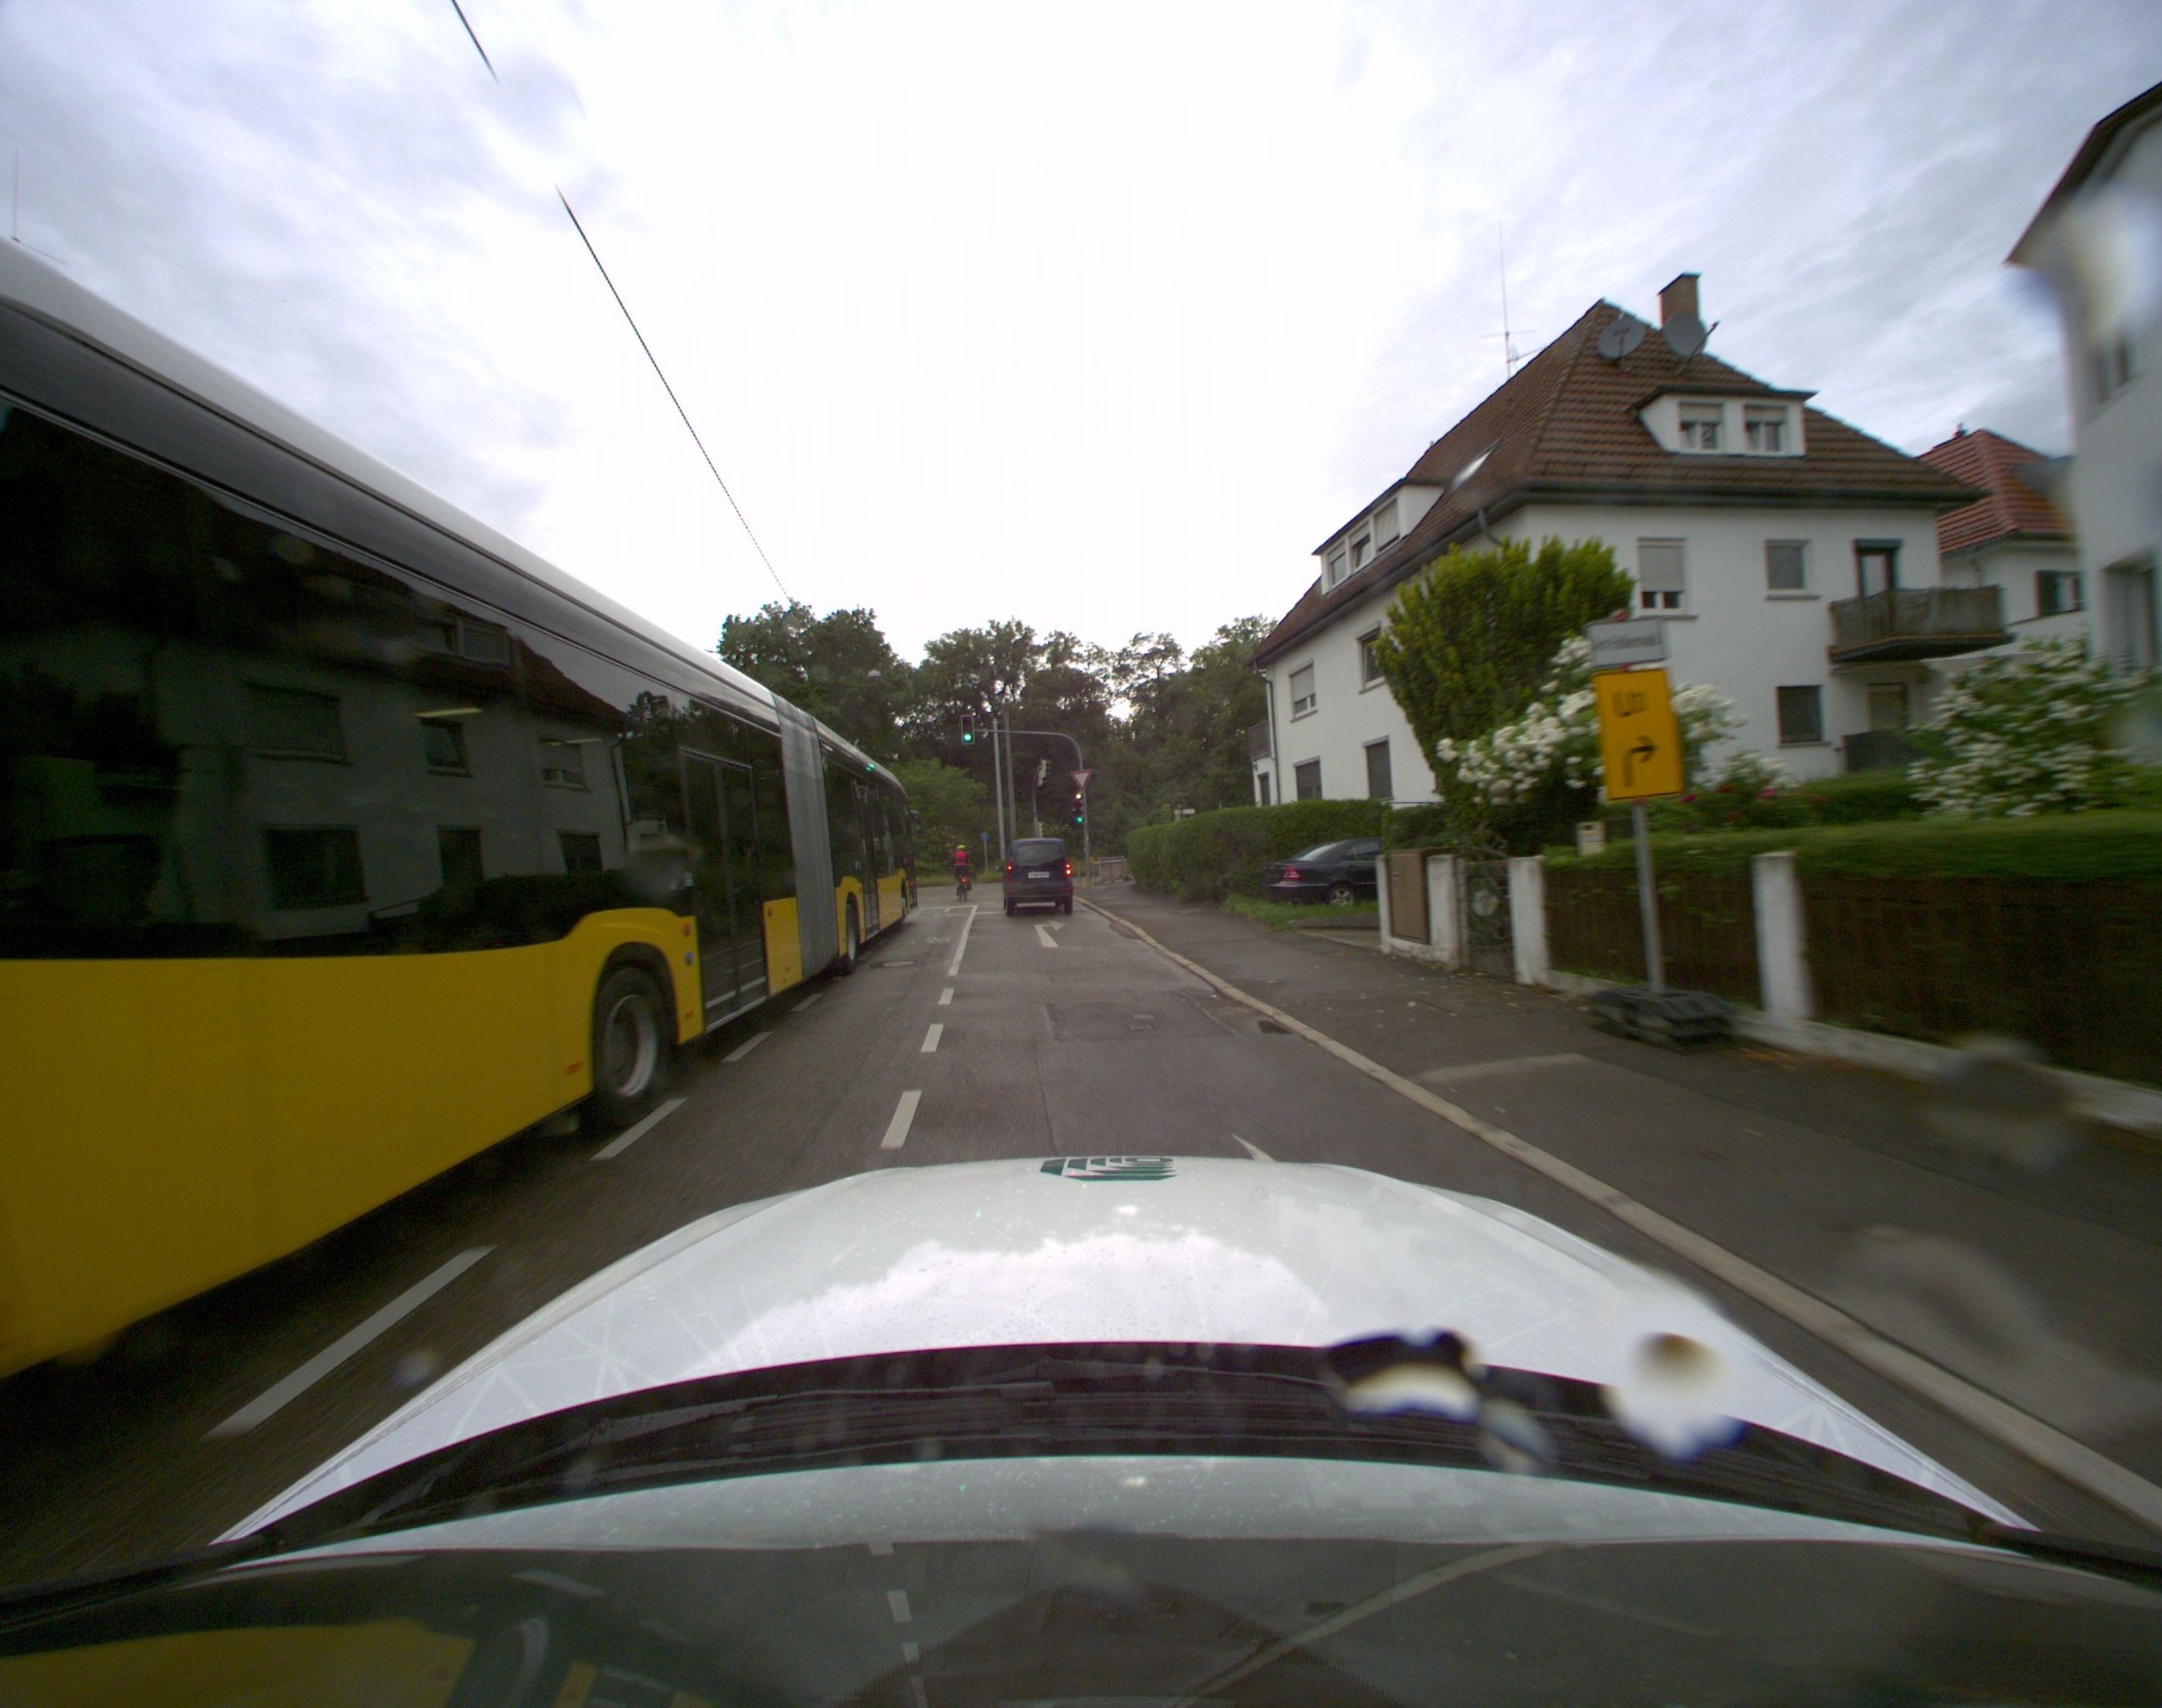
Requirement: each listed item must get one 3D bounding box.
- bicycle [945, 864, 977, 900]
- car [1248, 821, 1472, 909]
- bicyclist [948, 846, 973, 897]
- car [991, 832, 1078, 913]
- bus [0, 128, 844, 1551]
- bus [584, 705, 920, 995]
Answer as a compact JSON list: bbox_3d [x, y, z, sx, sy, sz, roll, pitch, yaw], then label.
[{"bbox_3d":[-4.022,0.911,27.214,0.580,1.096,2.139,-2,0,-20],"label":"bicycle"},{"bbox_3d":[5.307,0.171,15.693,3.740,1.388,1.612,-3,2,-8],"label":"car"},{"bbox_3d":[-4.015,0.573,27.153,0.580,1.652,1.041,-2,0,-20],"label":"bicyclist"},{"bbox_3d":[-1.291,0.456,20.935,1.808,1.797,3.988,-3,-1,-8],"label":"car"},{"bbox_3d":[-4.120,-0.037,5.657,2.671,3.398,8.670,-3,0,-3],"label":"bus"},{"bbox_3d":[-4.896,-0.088,14.491,2.896,3.398,9.023,-3,0,-6],"label":"bus"}]
